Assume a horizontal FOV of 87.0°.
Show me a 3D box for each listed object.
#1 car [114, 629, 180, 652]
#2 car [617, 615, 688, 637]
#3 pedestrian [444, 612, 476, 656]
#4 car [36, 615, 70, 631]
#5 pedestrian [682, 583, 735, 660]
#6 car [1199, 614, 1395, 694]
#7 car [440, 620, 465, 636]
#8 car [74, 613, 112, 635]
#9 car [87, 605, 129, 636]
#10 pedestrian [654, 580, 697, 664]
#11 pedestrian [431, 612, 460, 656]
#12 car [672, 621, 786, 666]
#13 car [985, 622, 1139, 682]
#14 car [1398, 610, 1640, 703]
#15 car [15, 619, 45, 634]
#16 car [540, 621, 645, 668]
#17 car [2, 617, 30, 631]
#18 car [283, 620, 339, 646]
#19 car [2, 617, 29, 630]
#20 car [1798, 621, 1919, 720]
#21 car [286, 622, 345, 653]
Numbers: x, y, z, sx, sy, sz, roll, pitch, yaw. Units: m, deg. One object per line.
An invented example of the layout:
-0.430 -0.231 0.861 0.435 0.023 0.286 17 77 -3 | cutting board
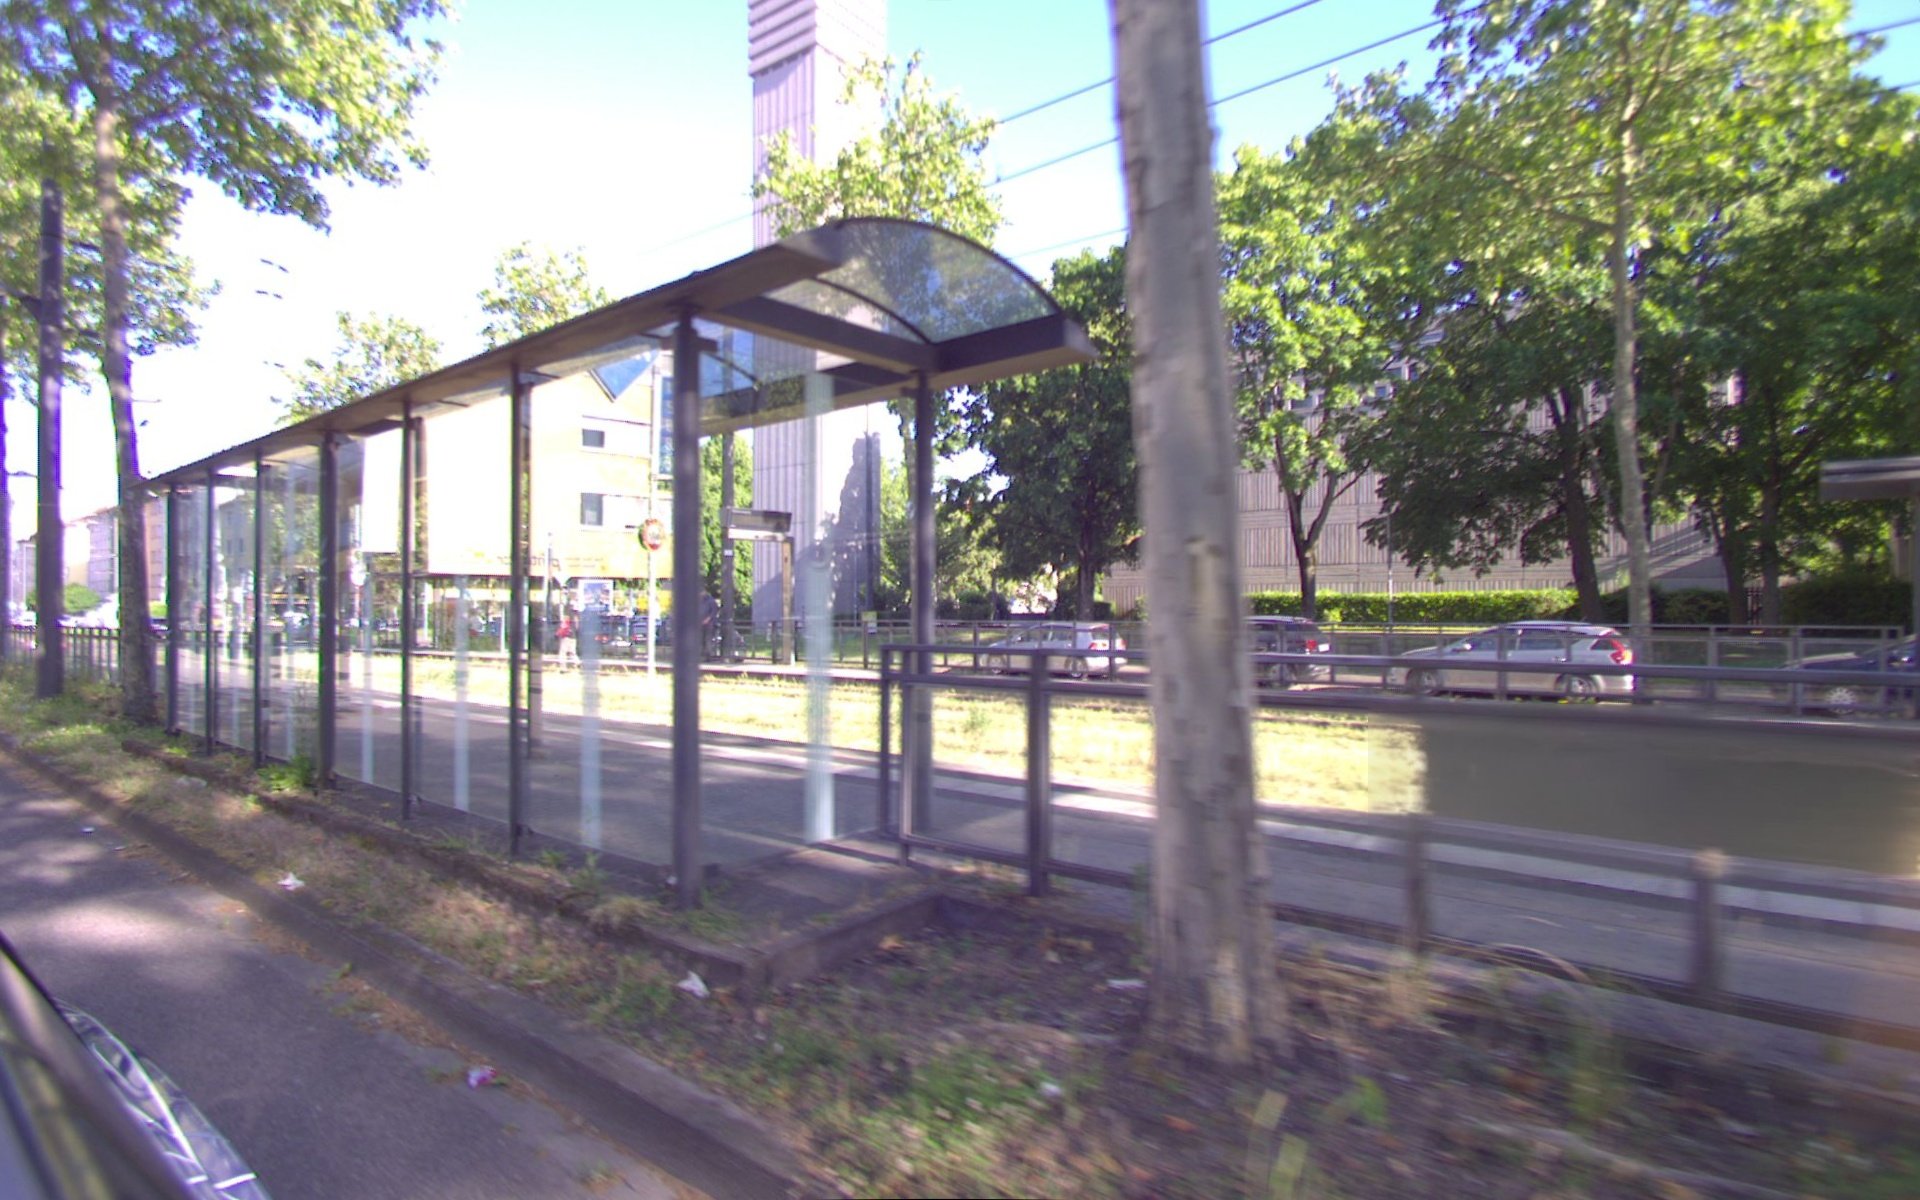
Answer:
-54.929 2.694 68.352 4.508 1.453 1.937 -1 -1 29 | car
-21.593 1.806 71.167 1.998 1.497 4.468 -1 -1 40 | car
-15.701 1.064 31.787 0.734 1.352 0.686 -1 -1 42 | pedestrian
-101.025 2.594 112.719 5.442 1.720 2.117 -1 -1 41 | car
-5.704 0.487 22.967 0.754 1.702 0.874 -1 -1 41 | pedestrian
7.567 1.160 22.933 3.928 1.645 1.577 -1 -1 41 | car
-44.398 2.460 88.501 1.616 1.318 4.012 1 0 -32 | car
-84.302 2.327 98.362 5.154 2.049 2.117 -1 -1 41 | car
-79.107 1.871 93.981 5.226 2.846 2.202 -1 -1 41 | car
-6.539 0.500 23.295 0.636 1.881 0.712 -1 -1 41 | pedestrian
-16.428 1.076 32.337 0.722 1.352 0.775 0 -1 -36 | pedestrian
-7.464 1.354 32.514 3.998 1.364 1.535 -1 -1 41 | car
2.672 1.338 27.068 3.928 1.455 1.577 -1 -1 41 | car
10.904 1.039 19.884 3.927 1.648 1.578 -1 -1 40 | car
-112.921 3.213 122.830 5.442 1.720 2.117 -1 -1 41 | car
-11.842 1.391 32.545 3.532 1.438 1.590 -1 -1 39 | car
-121.758 3.107 130.552 5.399 1.720 2.117 -1 -1 41 | car
-35.040 1.756 54.632 3.409 1.335 1.313 -1 -1 35 | car
-127.345 3.193 136.387 5.399 1.720 2.117 -1 -1 41 | car
15.720 1.090 15.796 4.016 1.500 1.578 -1 -1 40 | car
-26.901 1.542 42.218 2.964 1.213 1.311 -1 -1 41 | car
